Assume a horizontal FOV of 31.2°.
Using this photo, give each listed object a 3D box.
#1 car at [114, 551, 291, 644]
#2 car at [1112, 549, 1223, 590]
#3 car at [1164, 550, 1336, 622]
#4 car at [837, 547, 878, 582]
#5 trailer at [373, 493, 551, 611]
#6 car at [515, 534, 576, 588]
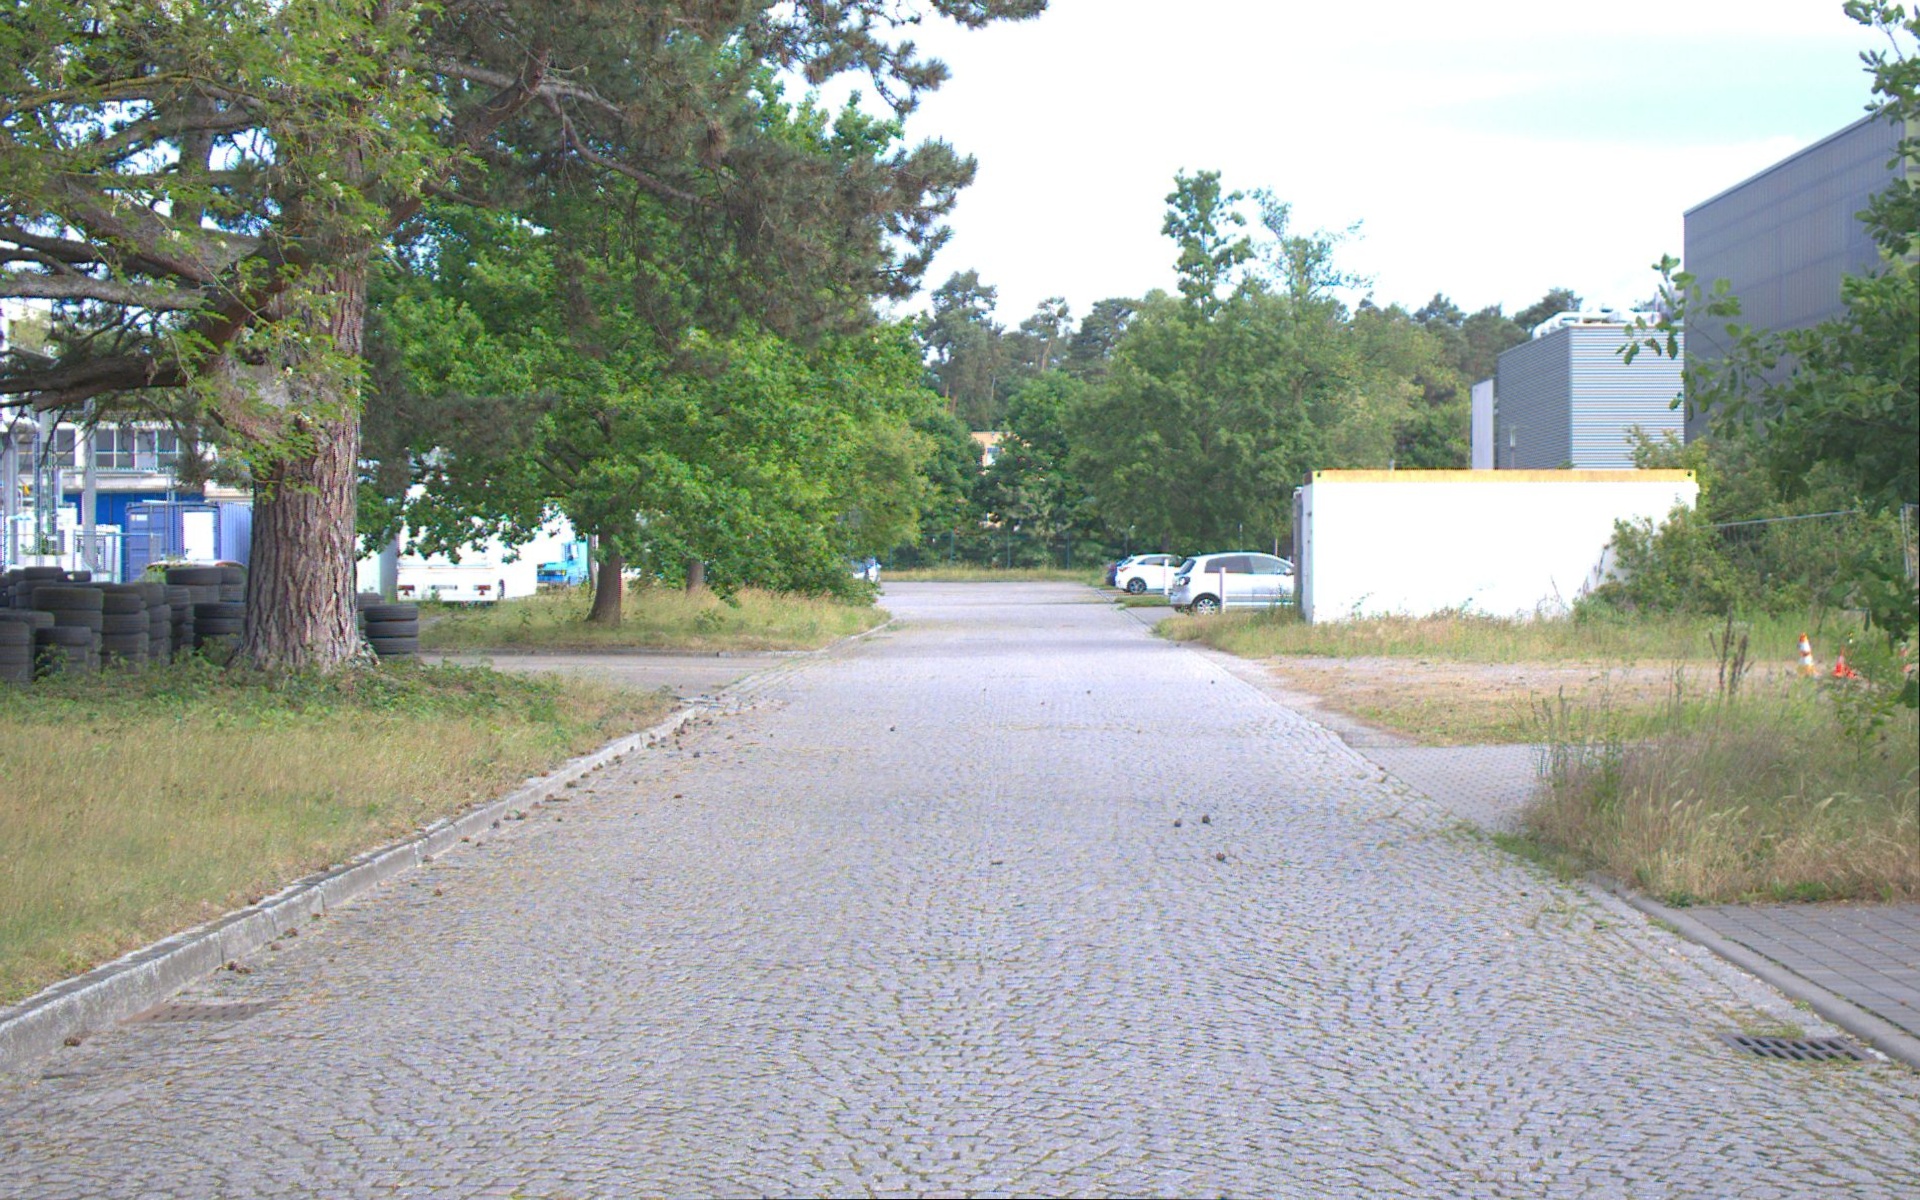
[{"bbox_3d":[-12.273,-0.063,55.903,1.767,1.448,3.487,0,1,7],"label":"car"},{"bbox_3d":[7.619,-1.135,126.399,4.025,1.496,1.548,0,1,2],"label":"car"},{"bbox_3d":[6.748,-0.335,80.260,3.849,1.649,1.686,0,1,-1],"label":"car"},{"bbox_3d":[-4.608,-1.614,155.091,1.803,1.529,4.000,0,1,-1],"label":"car"},{"bbox_3d":[-13.409,-1.308,93.378,3.159,3.057,8.783,0,1,3],"label":"trailer"},{"bbox_3d":[-16.123,-1.530,133.971,1.925,2.040,4.600,0,1,-1],"label":"car"}]
